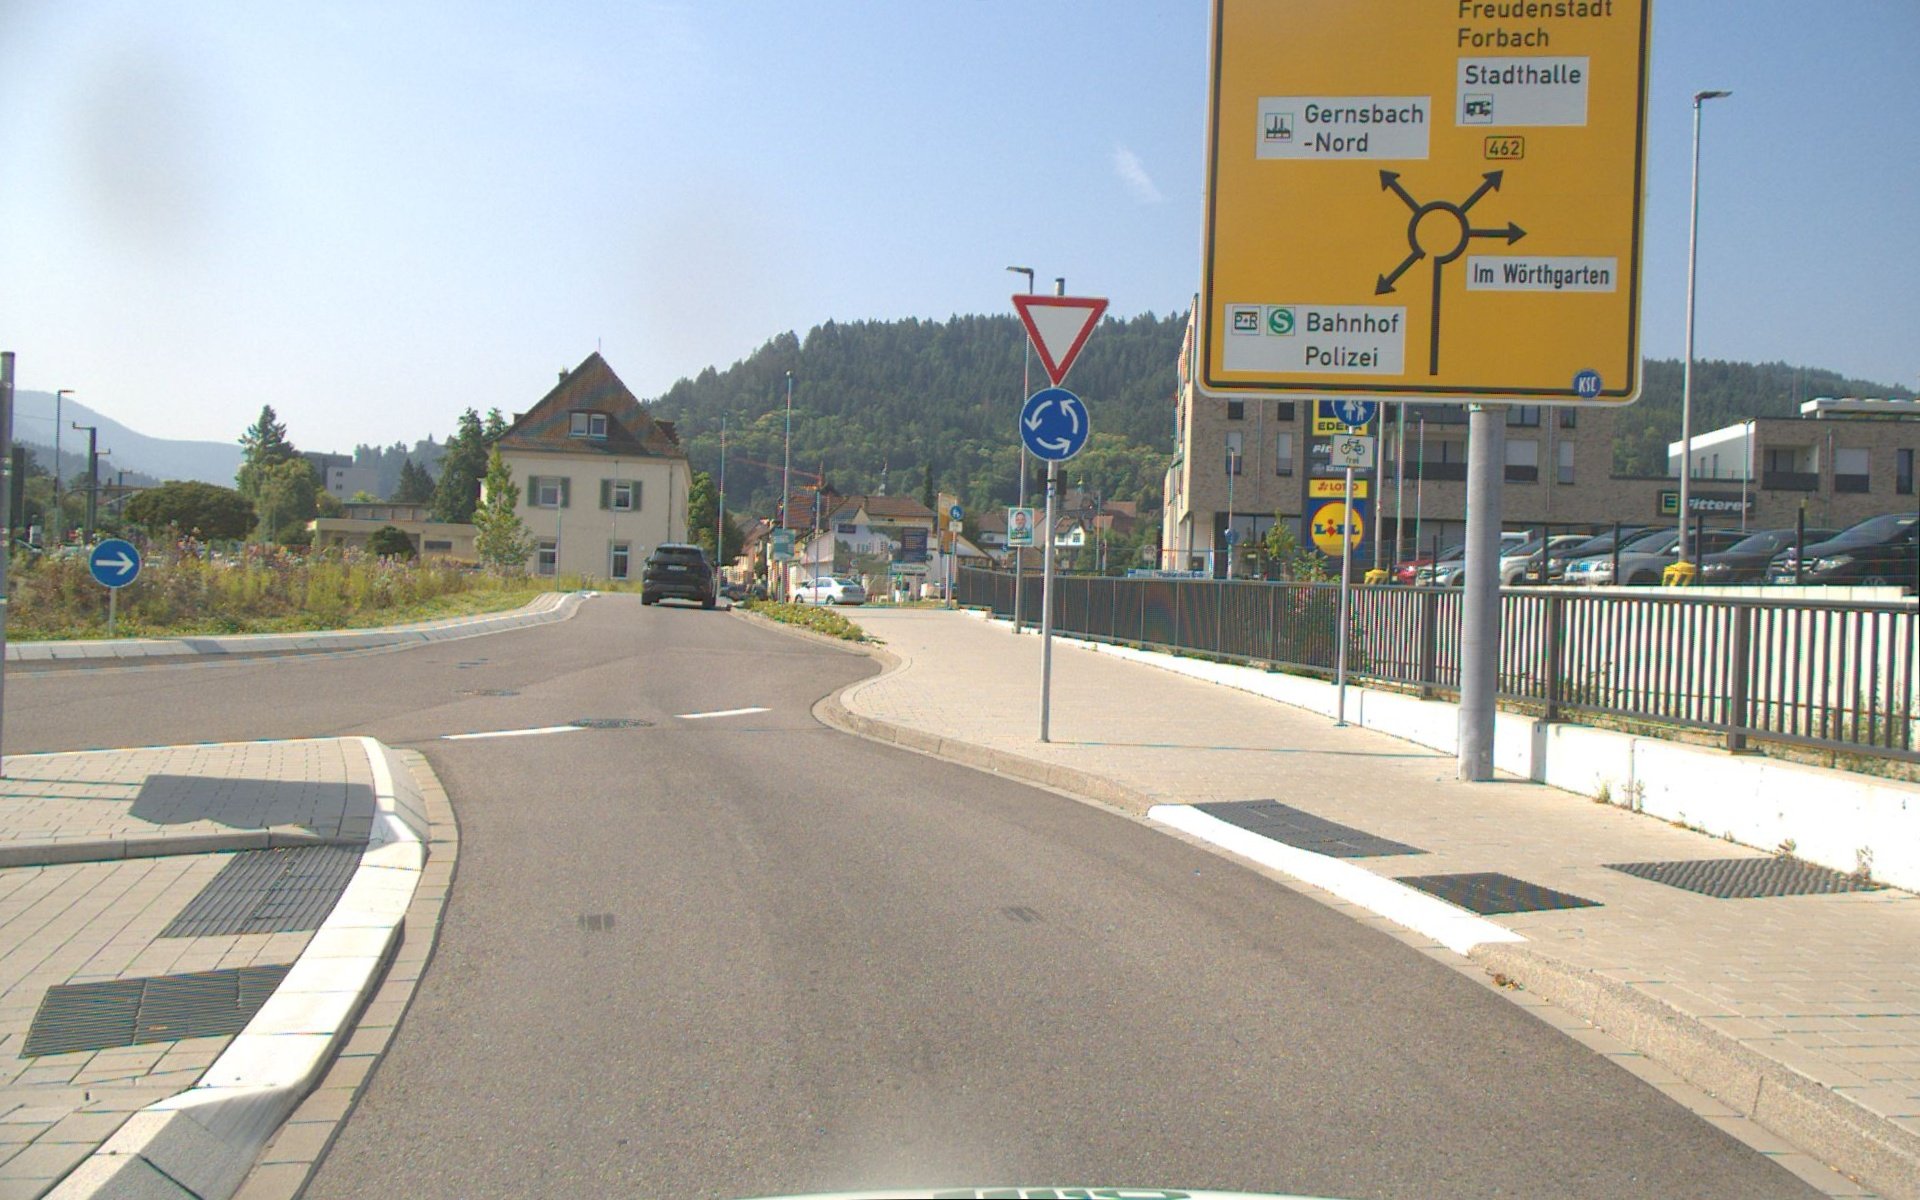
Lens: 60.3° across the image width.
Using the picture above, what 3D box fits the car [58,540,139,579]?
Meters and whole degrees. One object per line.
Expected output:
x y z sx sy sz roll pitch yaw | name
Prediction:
-28.118 -1.311 54.043 1.362 1.192 3.237 2 1 -9 | car

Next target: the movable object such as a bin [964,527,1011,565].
1.425 -2.802 86.572 2.393 1.876 1.428 1 0 0 | movable object such as a bin

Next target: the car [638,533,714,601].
-7.668 -0.860 44.938 1.845 1.713 3.993 1 0 -8 | car

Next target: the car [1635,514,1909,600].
13.777 -0.717 28.144 3.893 1.267 1.726 2 1 -9 | car

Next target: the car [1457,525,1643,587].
13.071 -0.957 36.751 3.489 1.220 1.711 2 1 -8 | car

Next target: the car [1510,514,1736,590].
13.472 -0.962 33.681 3.961 1.366 1.657 2 1 -8 | car

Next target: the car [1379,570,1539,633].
12.647 0.037 42.013 3.489 1.455 1.708 2 1 -8 | car

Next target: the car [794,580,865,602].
-6.124 -0.422 77.355 3.215 0.981 1.344 1 0 37 | car

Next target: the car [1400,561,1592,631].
12.789 -0.098 39.565 3.978 1.513 1.715 2 1 -6 | car

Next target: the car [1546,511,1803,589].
13.434 -0.928 31.176 4.199 1.267 1.661 2 1 -9 | car

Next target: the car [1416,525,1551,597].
16.511 -1.214 52.340 3.902 2.173 2.002 1 0 13 | car

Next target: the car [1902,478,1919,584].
15.016 -0.861 22.167 3.931 1.428 1.722 2 1 -9 | car

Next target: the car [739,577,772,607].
-14.269 -0.546 115.299 1.958 2.049 3.988 1 0 -12 | car

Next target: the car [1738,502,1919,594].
14.415 -0.751 25.482 4.135 1.267 1.741 2 1 -9 | car
